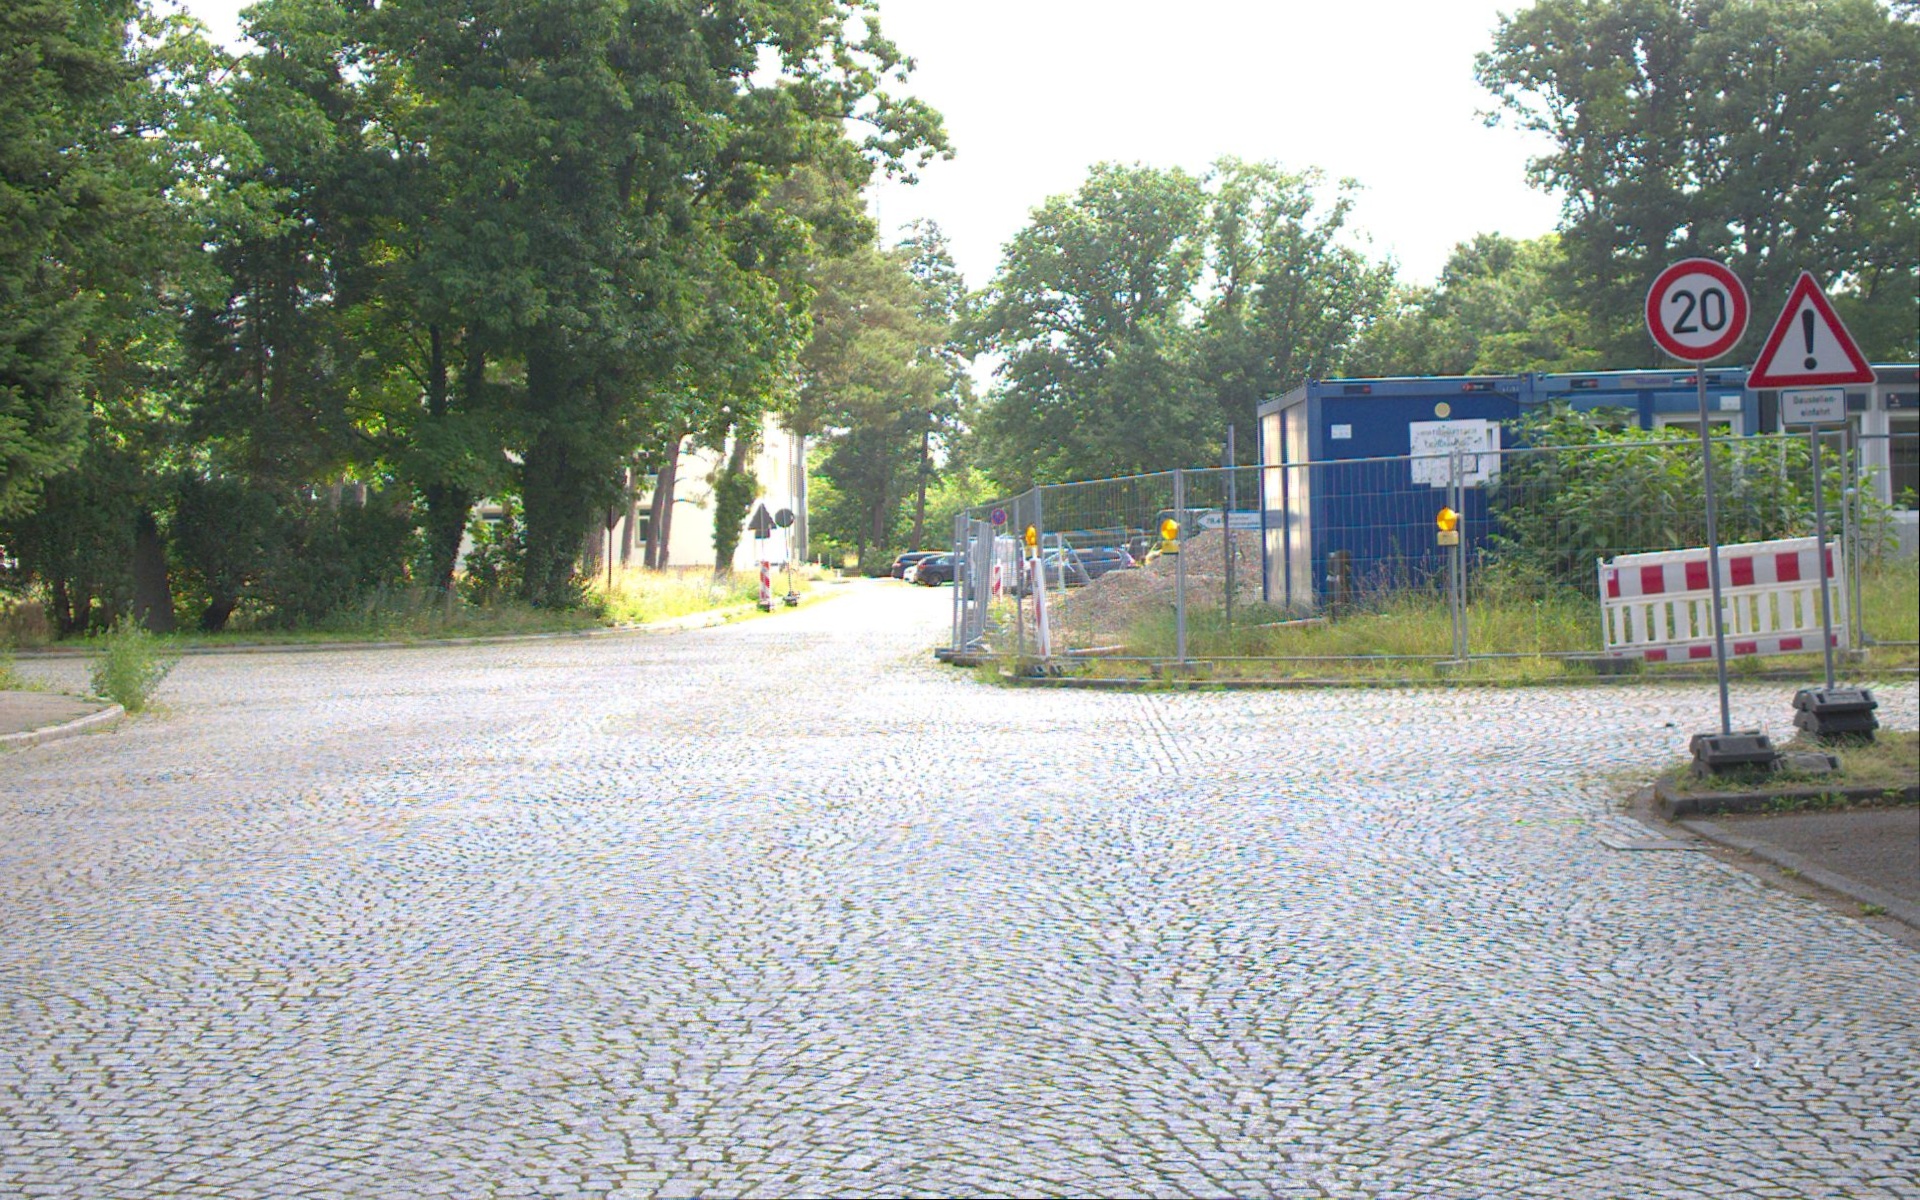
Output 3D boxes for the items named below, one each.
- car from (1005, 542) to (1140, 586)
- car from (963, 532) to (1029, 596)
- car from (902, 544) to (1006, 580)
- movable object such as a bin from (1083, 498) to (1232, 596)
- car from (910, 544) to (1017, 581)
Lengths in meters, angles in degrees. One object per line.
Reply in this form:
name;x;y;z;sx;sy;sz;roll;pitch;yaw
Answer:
car;3.878;-1.237;117.871;4.404;1.505;1.999;0;1;9
car;1.138;-1.154;110.720;1.993;2.007;4.091;-1;1;-1
car;-0.298;-1.802;162.040;4.779;1.635;2.000;-1;1;-5
movable object such as a bin;5.416;-1.463;93.660;2.132;2.584;4.783;0;1;30
car;0.129;-1.754;158.932;4.779;1.635;2.000;-1;1;-5
